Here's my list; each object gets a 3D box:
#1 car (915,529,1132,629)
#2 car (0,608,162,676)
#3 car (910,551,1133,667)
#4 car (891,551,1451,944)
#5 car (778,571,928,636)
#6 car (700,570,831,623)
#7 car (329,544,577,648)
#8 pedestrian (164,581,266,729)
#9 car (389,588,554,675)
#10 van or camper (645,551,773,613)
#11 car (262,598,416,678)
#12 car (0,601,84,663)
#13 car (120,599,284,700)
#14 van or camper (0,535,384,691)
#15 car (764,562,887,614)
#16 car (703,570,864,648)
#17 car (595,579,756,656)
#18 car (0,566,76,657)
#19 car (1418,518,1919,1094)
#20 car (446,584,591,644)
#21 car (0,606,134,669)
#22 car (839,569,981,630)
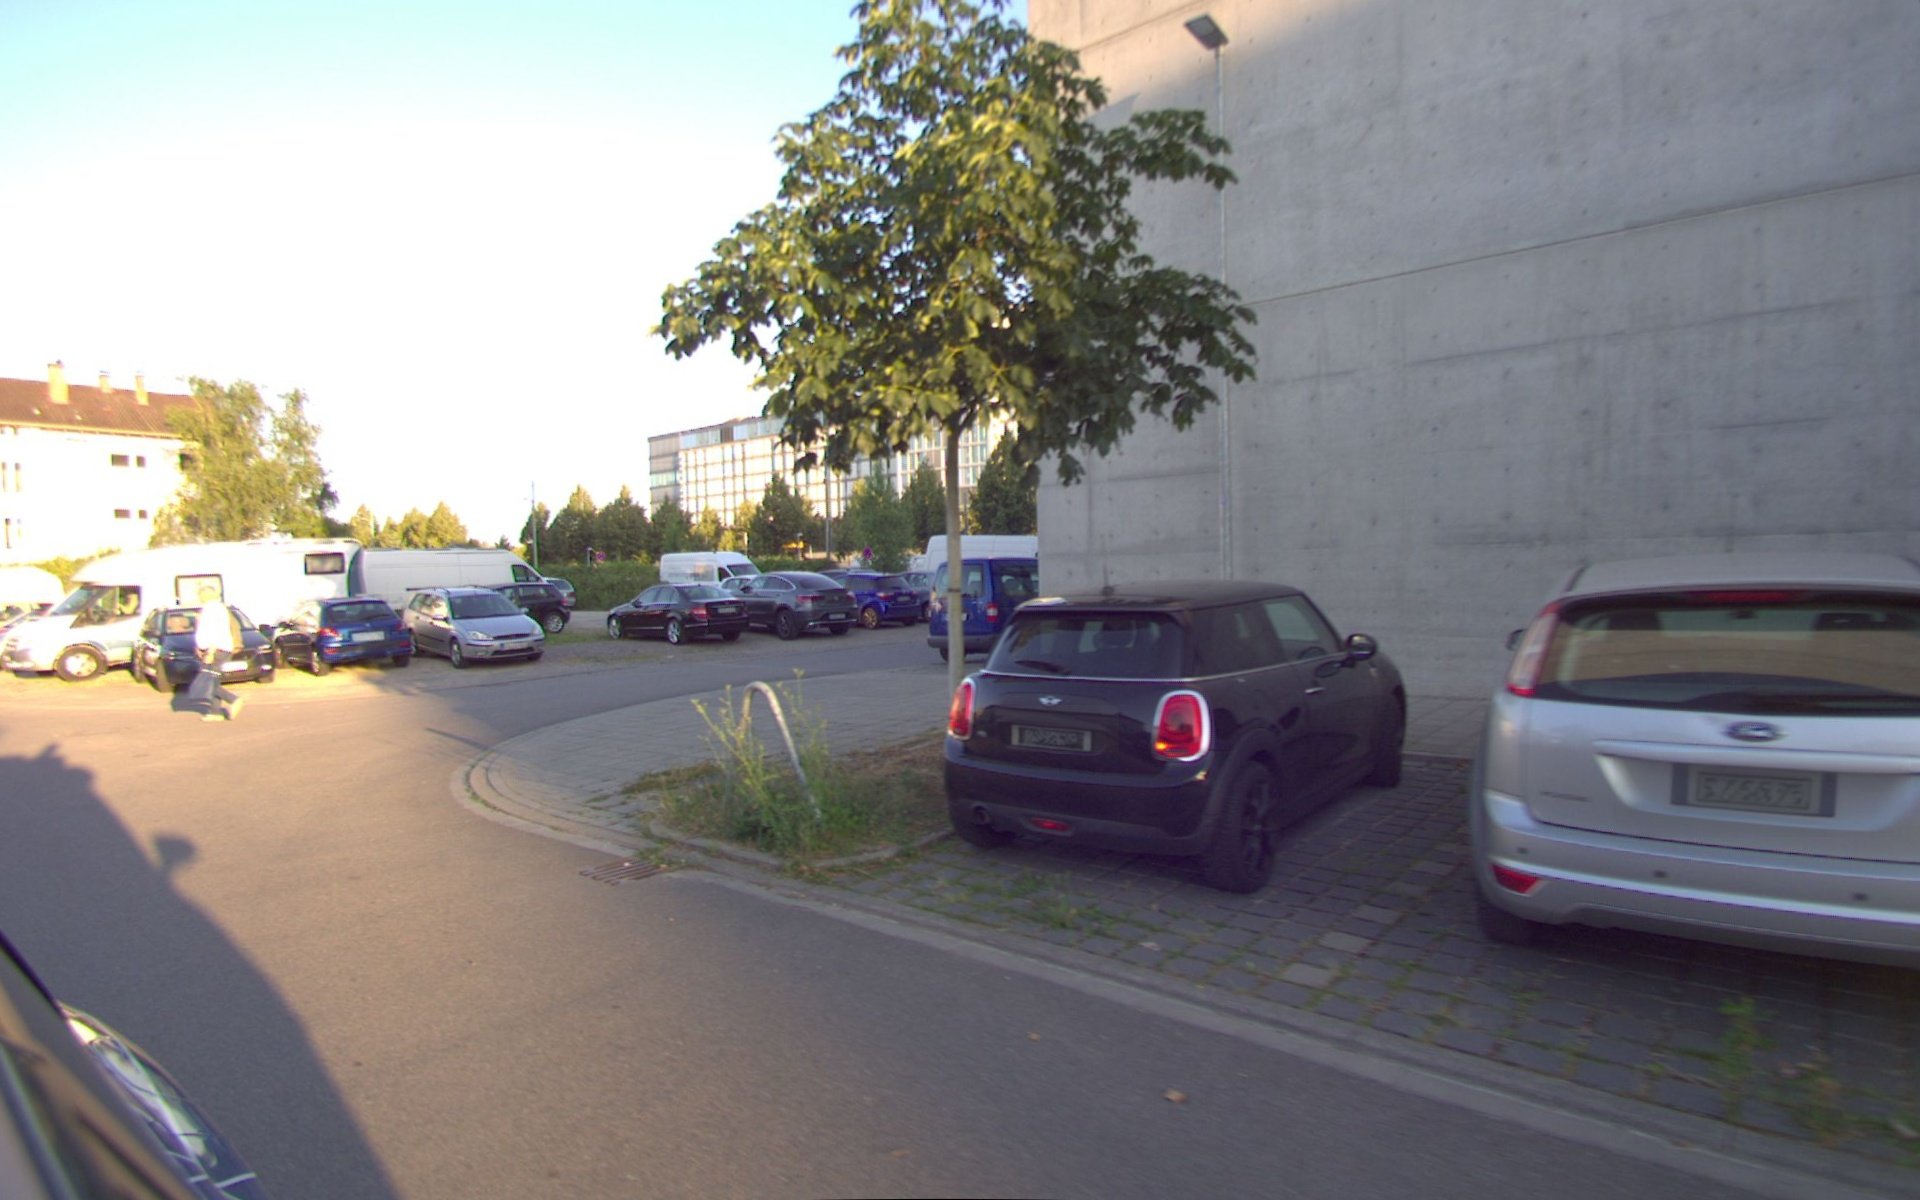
[{"bbox_3d":[1.828,-0.761,31.737,6.982,2.822,2.183,3,4,42],"label":"car"},{"bbox_3d":[-21.703,0.988,24.168,1.686,1.338,3.781,-1,3,30],"label":"car"},{"bbox_3d":[1.209,0.102,18.272,1.847,1.845,4.043,-3,0,42],"label":"car"},{"bbox_3d":[1.505,0.530,5.991,1.767,1.493,3.700,-2,2,38],"label":"car"},{"bbox_3d":[-3.066,0.034,28.575,4.404,1.510,1.646,4,6,41],"label":"car"},{"bbox_3d":[-6.221,-0.105,32.109,4.403,1.510,1.646,-1,3,41],"label":"car"},{"bbox_3d":[-14.875,-0.231,30.144,2.220,2.693,6.185,0,3,37],"label":"car"},{"bbox_3d":[-9.858,0.692,13.396,0.856,1.864,0.890,-1,0,41],"label":"pedestrian"},{"bbox_3d":[-10.417,0.584,21.466,4.203,1.490,1.645,2,5,42],"label":"car"},{"bbox_3d":[-11.899,-0.820,47.703,6.628,2.710,1.997,0,3,37],"label":"van or camper"},{"bbox_3d":[-12.660,0.706,20.545,3.721,1.433,1.645,0,2,42],"label":"car"},{"bbox_3d":[-26.205,0.914,27.191,1.698,1.530,3.606,-1,3,29],"label":"car"},{"bbox_3d":[-14.064,0.817,18.679,4.362,1.530,1.668,1,3,44],"label":"car"},{"bbox_3d":[-16.835,0.096,22.359,2.404,2.919,6.682,0,2,36],"label":"van or camper"},{"bbox_3d":[-4.688,-0.407,34.877,4.403,1.633,1.646,0,3,41],"label":"car"},{"bbox_3d":[-4.592,0.158,26.001,4.404,1.633,1.646,4,6,41],"label":"car"},{"bbox_3d":[-7.063,0.357,24.916,4.404,1.490,1.646,4,6,41],"label":"car"},{"bbox_3d":[-29.274,0.445,28.669,2.404,2.552,5.844,0,4,32],"label":"car"},{"bbox_3d":[3.521,0.445,4.483,1.843,1.540,4.048,-1,3,37],"label":"car"},{"bbox_3d":[-12.425,0.348,28.631,1.512,1.458,3.407,0,3,37],"label":"car"},{"bbox_3d":[-23.829,0.958,25.950,1.698,1.377,3.703,-1,3,28],"label":"car"},{"bbox_3d":[-1.553,-0.084,30.370,4.298,1.510,1.646,4,6,41],"label":"car"}]
